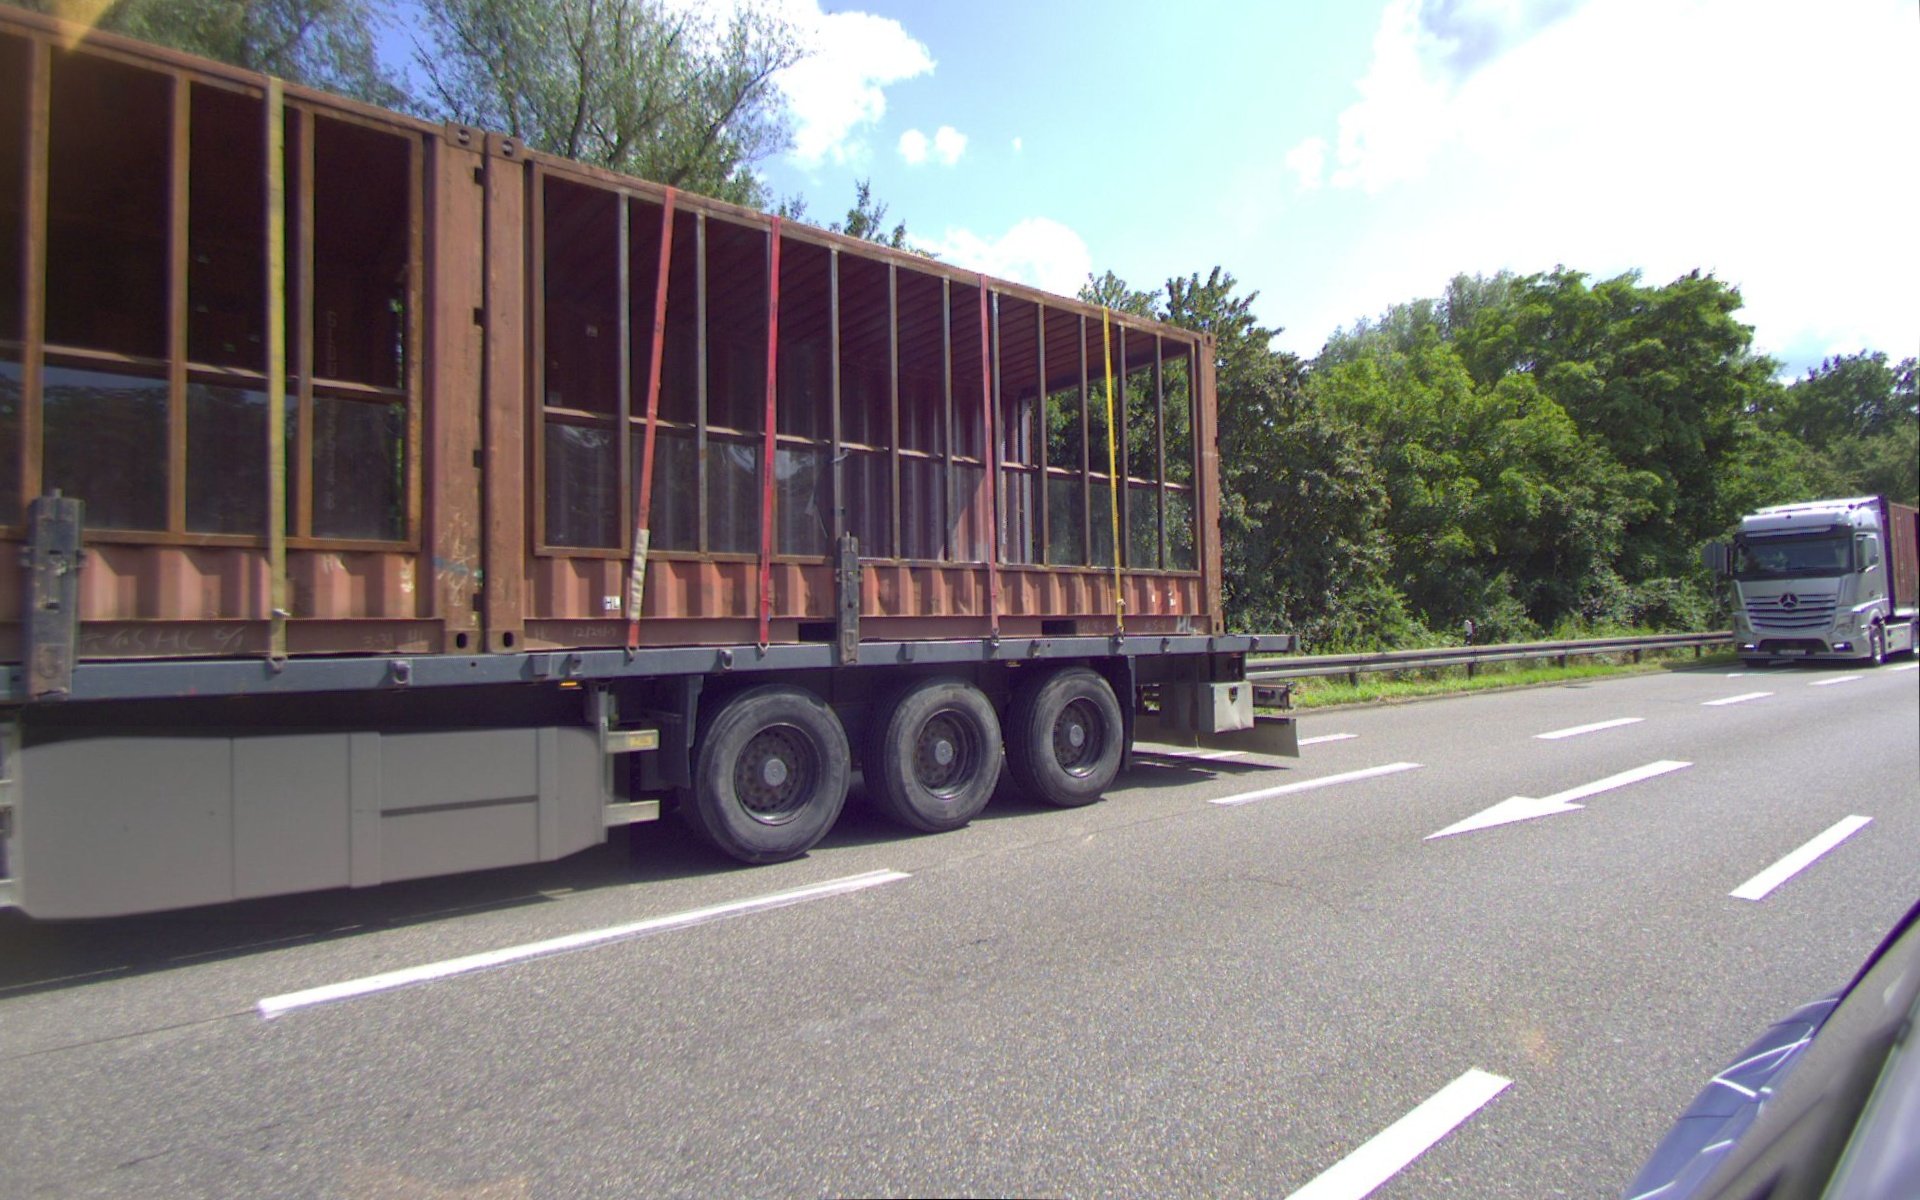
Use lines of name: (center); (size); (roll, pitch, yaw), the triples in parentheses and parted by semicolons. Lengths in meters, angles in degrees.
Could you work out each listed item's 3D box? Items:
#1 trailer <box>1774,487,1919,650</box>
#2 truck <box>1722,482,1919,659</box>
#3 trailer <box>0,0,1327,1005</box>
trailer: (27.021, -0.701, 28.878); (12.089, 3.900, 2.779); (0, -2, -36)
truck: (22.006, -0.599, 25.268); (6.691, 3.895, 2.777); (0, -2, -36)
trailer: (-2.817, -0.420, 6.127); (13.596, 3.942, 2.644); (0, -3, -39)
